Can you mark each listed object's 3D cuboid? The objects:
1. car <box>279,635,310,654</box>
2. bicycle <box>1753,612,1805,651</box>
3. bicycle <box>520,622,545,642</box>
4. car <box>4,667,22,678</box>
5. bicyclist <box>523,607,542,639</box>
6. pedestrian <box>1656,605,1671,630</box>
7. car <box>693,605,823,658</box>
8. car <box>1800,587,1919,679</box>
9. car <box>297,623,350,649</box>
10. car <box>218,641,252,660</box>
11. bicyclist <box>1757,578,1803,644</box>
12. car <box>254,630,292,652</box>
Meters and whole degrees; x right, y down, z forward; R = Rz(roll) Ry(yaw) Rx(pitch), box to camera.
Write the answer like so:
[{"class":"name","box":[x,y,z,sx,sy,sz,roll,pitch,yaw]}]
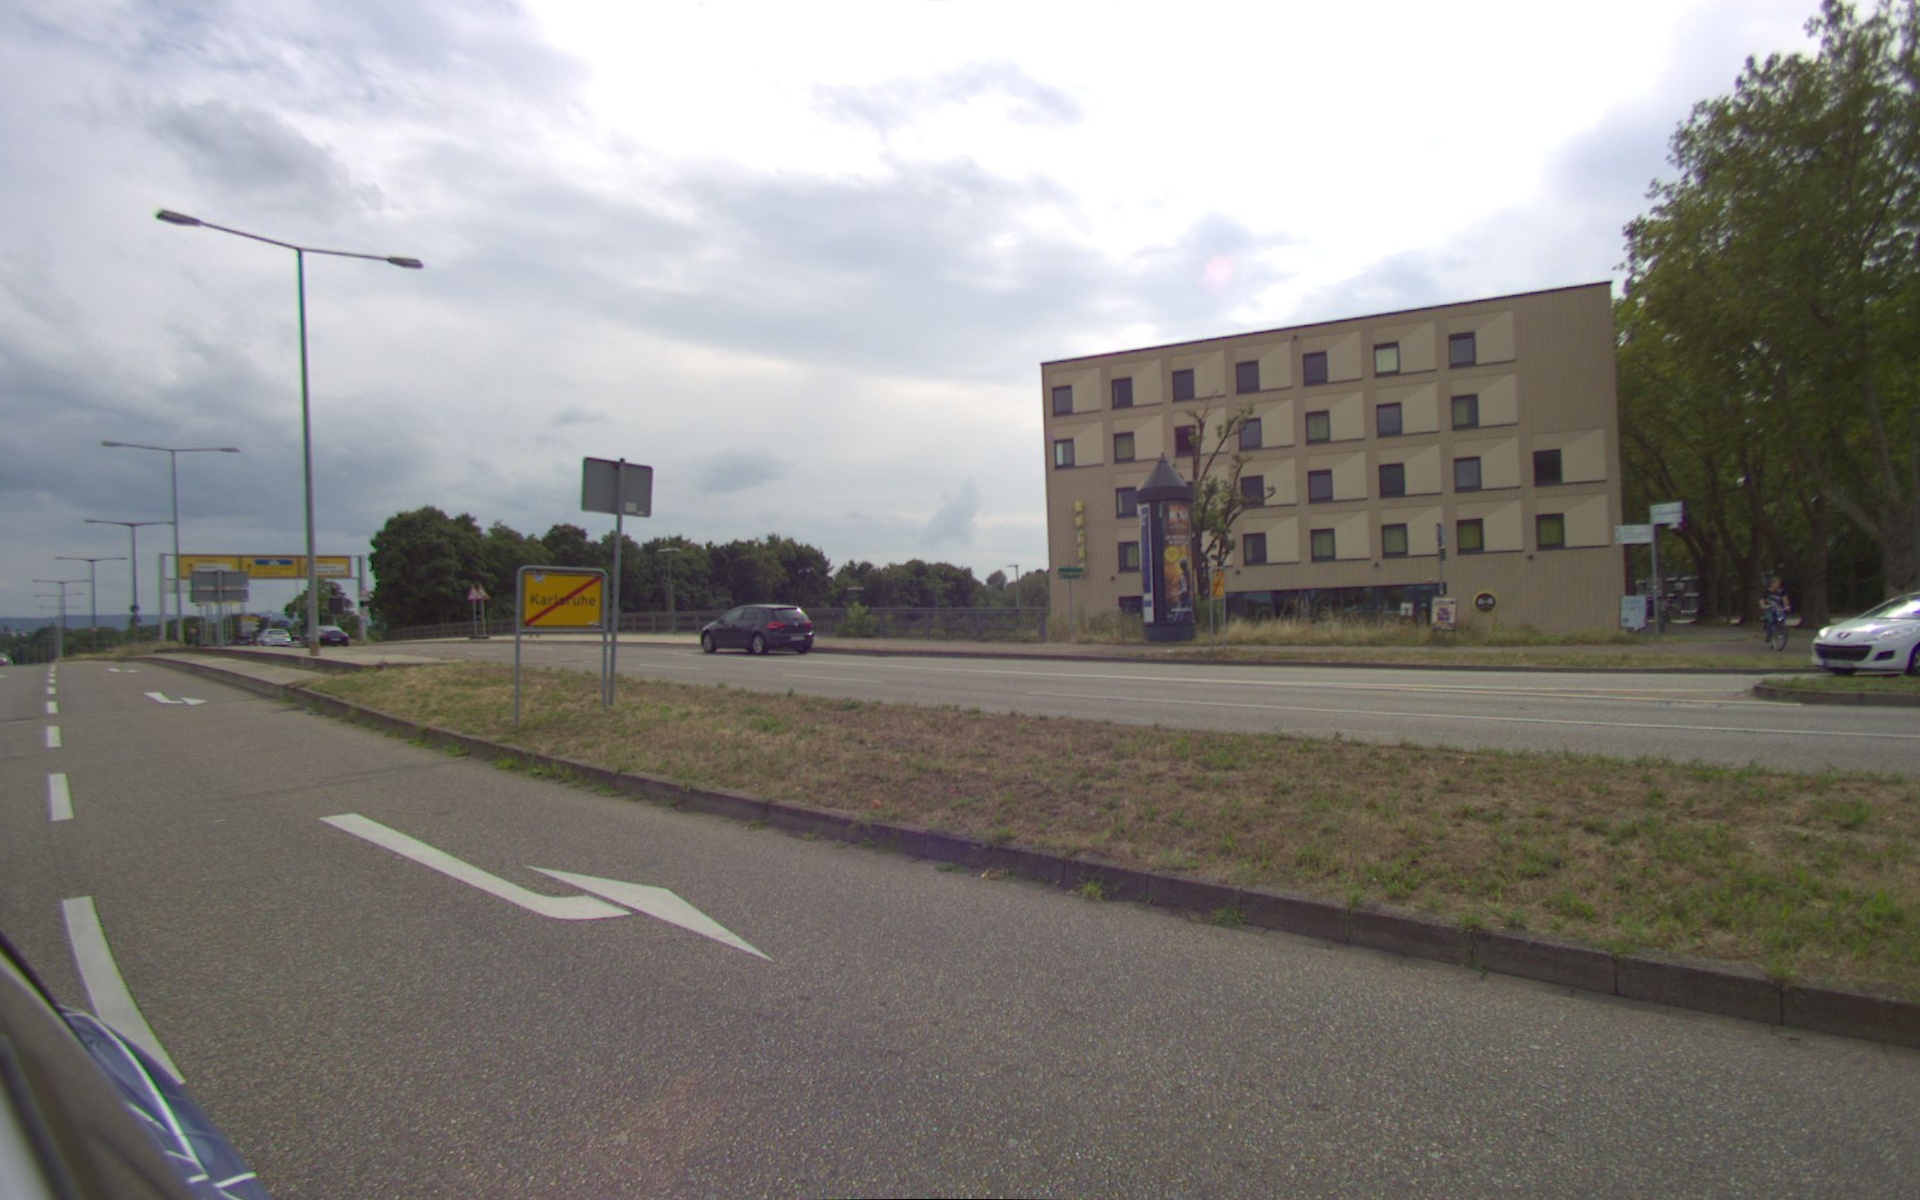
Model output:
[{"class":"car","box":[-60.427,4.007,91.926,1.717,1.671,4.092,0,-1,-23]},{"class":"bicycle","box":[20.639,0.774,25.492,2.088,0.916,0.742,-1,-1,-44]},{"class":"bicycle","box":[-22.728,1.700,53.762,0.675,1.061,1.998,-1,0,-39]},{"class":"car","box":[-138.759,10.613,148.316,1.834,1.353,4.004,-1,-1,-43]},{"class":"bicyclist","box":[-22.701,1.210,53.739,0.675,1.684,0.849,-1,-1,-39]},{"class":"pedestrian","box":[32.406,0.786,46.630,0.500,1.133,0.458,-2,-1,30]},{"class":"car","box":[-6.023,0.911,29.922,4.001,1.429,1.773,-2,-1,44]},{"class":"car","box":[16.737,0.504,17.059,3.817,1.456,1.733,-1,0,-5]},{"class":"car","box":[-38.449,2.153,61.073,1.800,1.457,4.355,-1,0,-45]},{"class":"car","box":[-59.397,4.112,82.867,1.721,1.421,3.879,1,-2,-44]},{"class":"bicyclist","box":[20.683,0.272,25.525,0.907,1.627,0.742,-1,-1,-44]},{"class":"car","box":[-48.656,2.884,71.649,1.597,1.421,3.864,1,-2,-43]}]
